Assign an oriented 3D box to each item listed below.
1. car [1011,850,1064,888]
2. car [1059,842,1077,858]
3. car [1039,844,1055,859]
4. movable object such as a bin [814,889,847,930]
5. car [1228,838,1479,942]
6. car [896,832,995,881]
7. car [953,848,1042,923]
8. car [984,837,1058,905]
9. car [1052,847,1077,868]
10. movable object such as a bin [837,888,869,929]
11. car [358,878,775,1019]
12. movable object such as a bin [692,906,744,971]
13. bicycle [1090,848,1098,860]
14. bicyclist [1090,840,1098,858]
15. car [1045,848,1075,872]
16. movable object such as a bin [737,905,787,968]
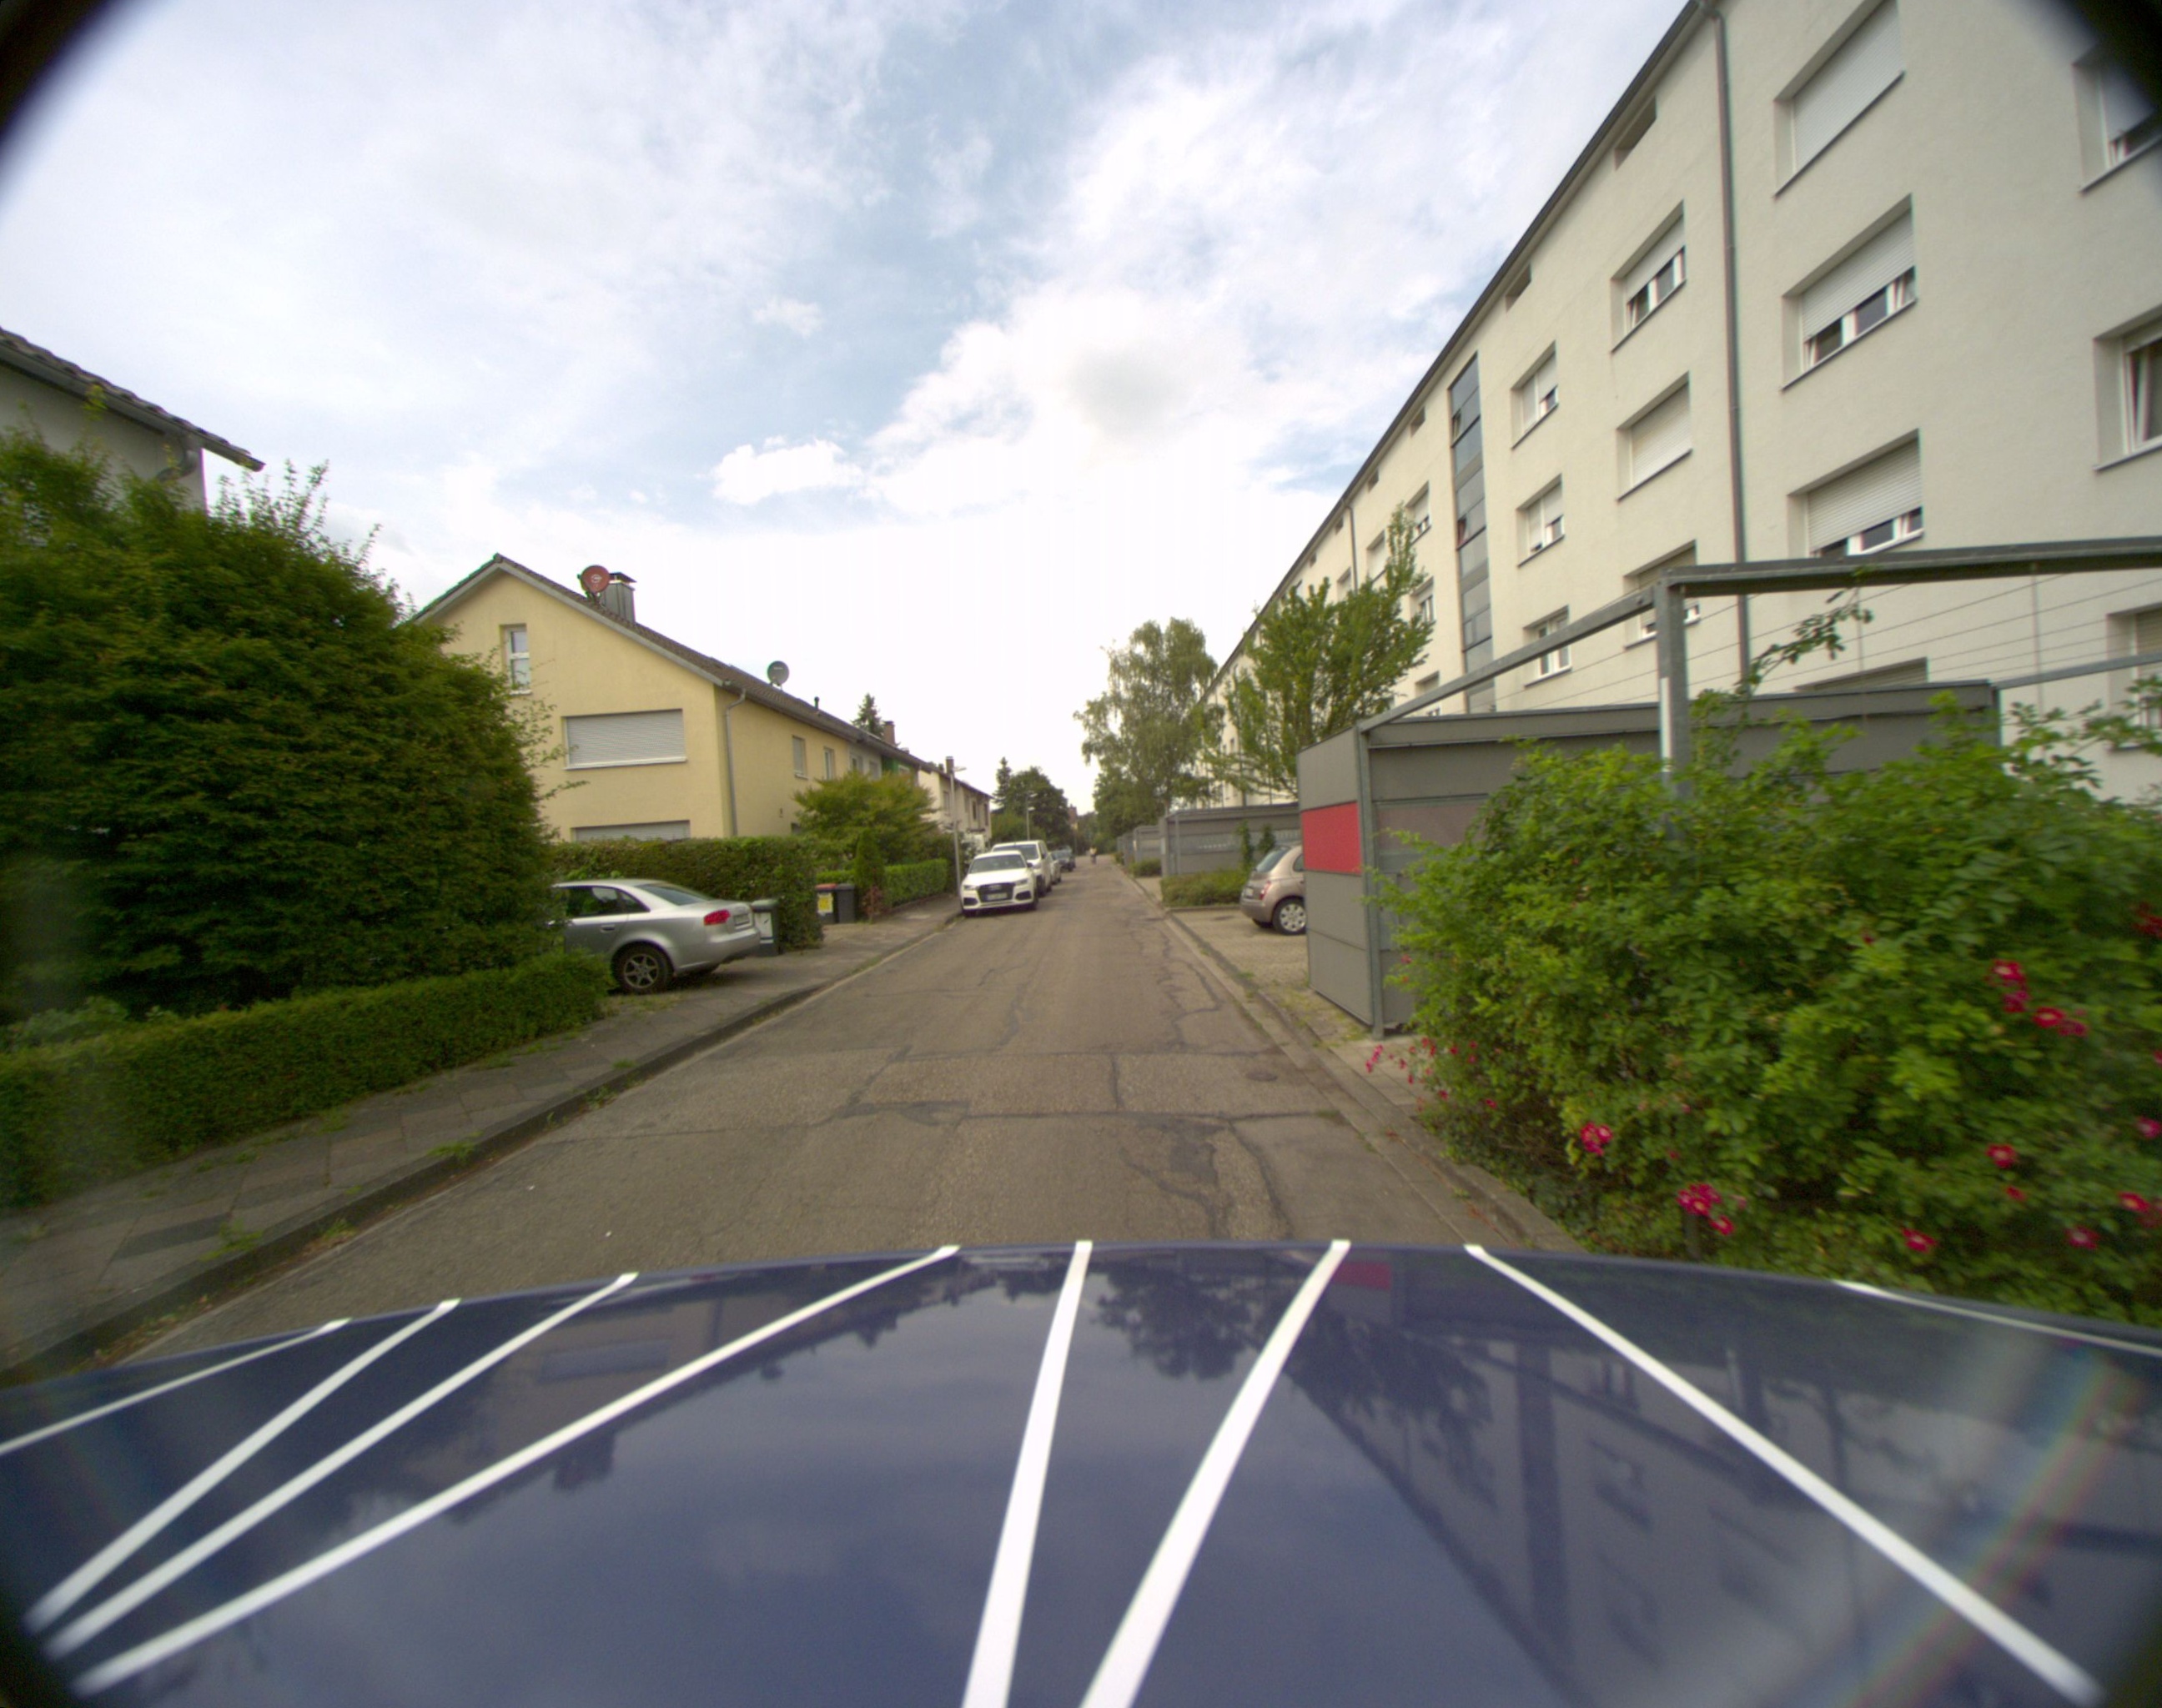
[{"bbox_3d":[-1.880,0.642,34.484,1.787,1.412,4.455,-5,1,3],"label":"car"},{"bbox_3d":[-1.492,-0.497,87.235,1.926,1.576,3.999,-6,1,-1],"label":"car"},{"bbox_3d":[-3.922,-0.334,87.922,1.705,1.458,3.998,-4,2,-1],"label":"car"},{"bbox_3d":[-5.724,1.270,17.383,0.511,0.863,0.529,-4,1,1],"label":"movable object such as a bin"},{"bbox_3d":[4.497,0.561,12.873,3.571,1.472,1.710,-3,1,-3],"label":"car"},{"bbox_3d":[-7.649,0.141,43.345,5.100,2.528,2.237,-3,1,2],"label":"car"},{"bbox_3d":[-2.097,0.734,20.199,1.830,1.626,4.161,-5,1,-1],"label":"car"},{"bbox_3d":[-1.980,0.495,26.551,1.908,1.953,5.253,-5,1,1],"label":"car"},{"bbox_3d":[-1.282,0.249,60.597,1.834,1.449,4.189,-5,1,0],"label":"car"},{"bbox_3d":[-5.199,1.236,17.365,0.511,0.863,0.529,-4,1,1],"label":"movable object such as a bin"},{"bbox_3d":[-6.364,1.124,9.843,4.032,1.419,1.852,-2,1,-4],"label":"car"},{"bbox_3d":[-5.830,1.348,12.219,0.511,0.961,0.500,-4,1,1],"label":"movable object such as a bin"},{"bbox_3d":[1.199,-0.012,68.052,0.598,1.070,2.042,-2,1,3],"label":"bicycle"},{"bbox_3d":[1.174,-0.439,67.855,0.598,1.572,0.767,-2,1,3],"label":"bicyclist"},{"bbox_3d":[-1.370,0.378,51.507,1.834,1.449,4.189,-5,1,0],"label":"car"},{"bbox_3d":[-5.139,1.323,12.263,0.511,0.916,0.500,-4,1,1],"label":"movable object such as a bin"}]
